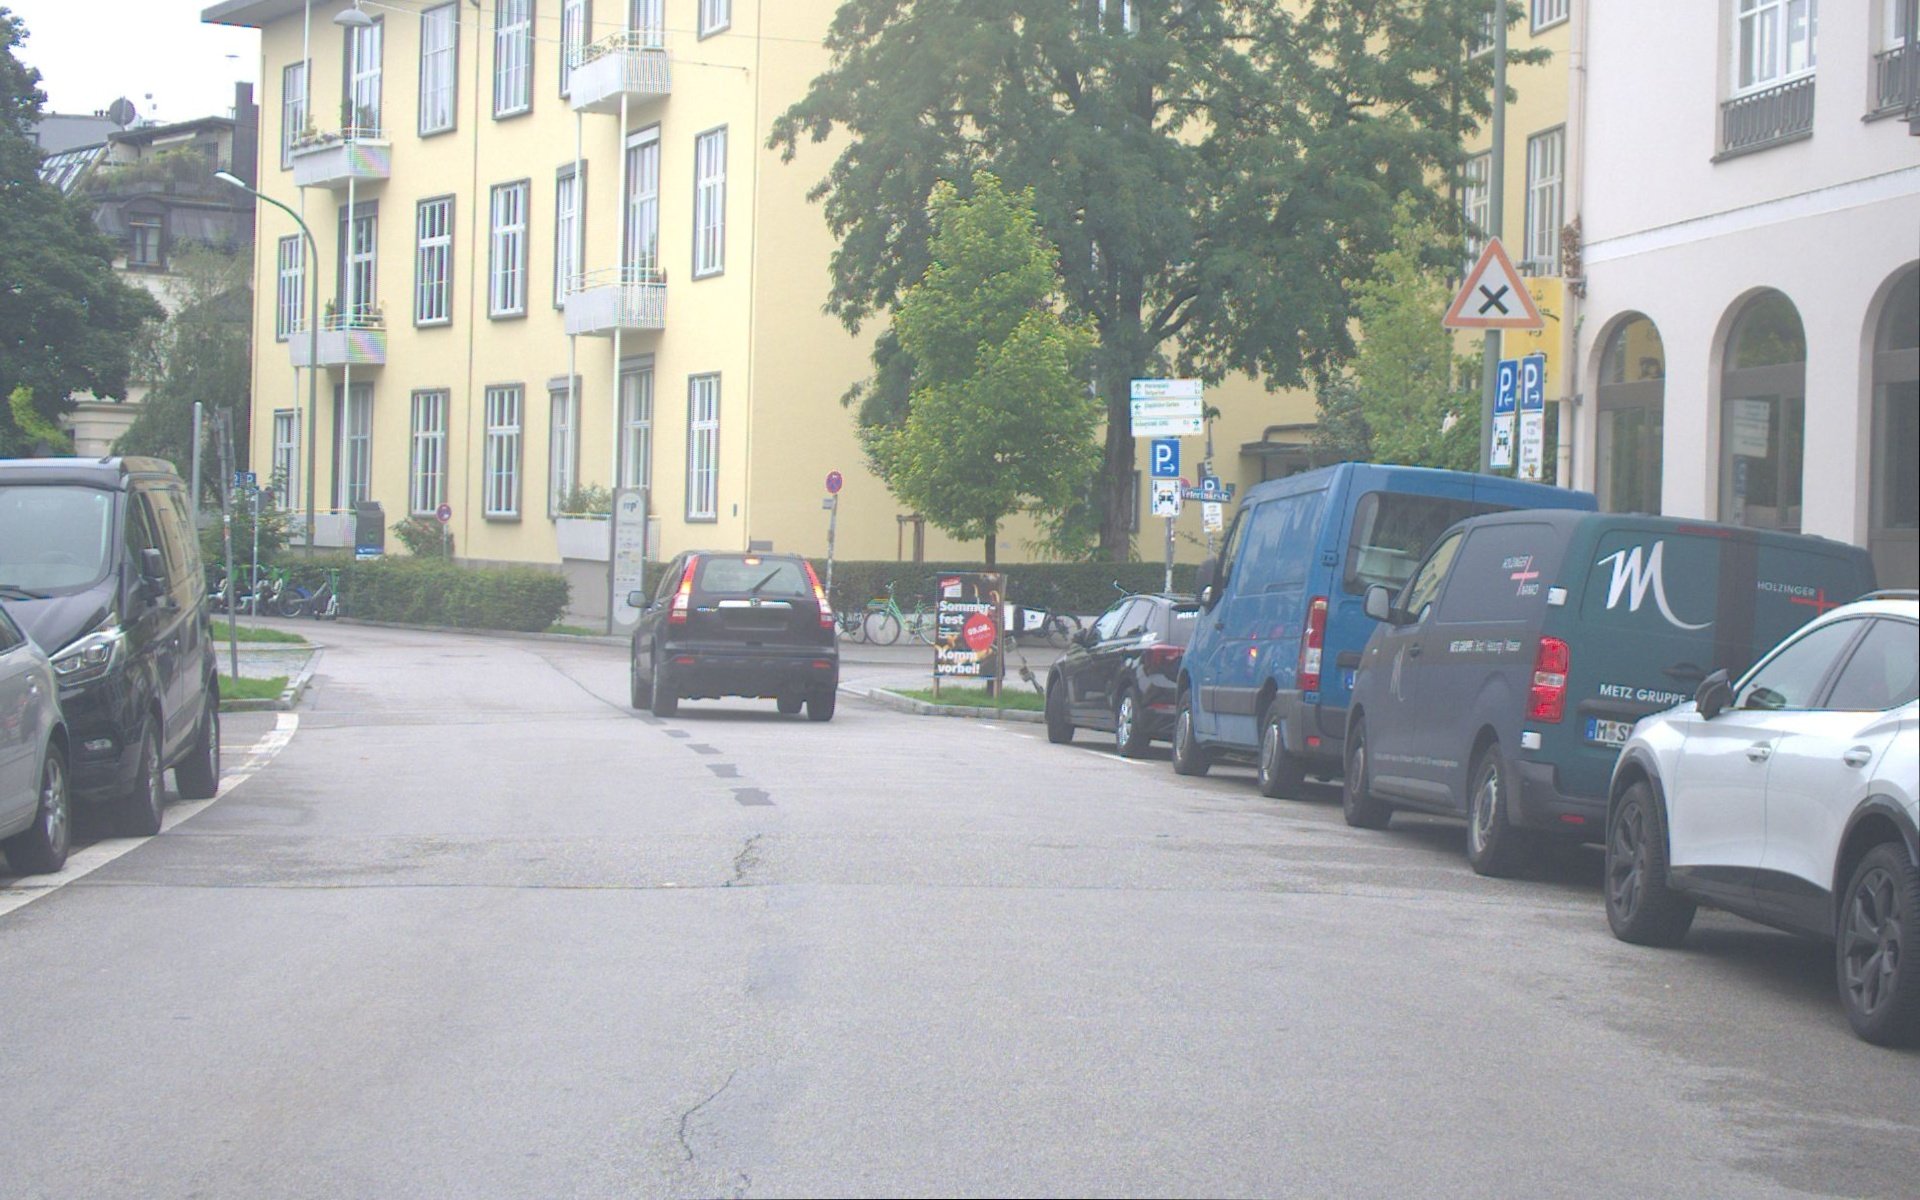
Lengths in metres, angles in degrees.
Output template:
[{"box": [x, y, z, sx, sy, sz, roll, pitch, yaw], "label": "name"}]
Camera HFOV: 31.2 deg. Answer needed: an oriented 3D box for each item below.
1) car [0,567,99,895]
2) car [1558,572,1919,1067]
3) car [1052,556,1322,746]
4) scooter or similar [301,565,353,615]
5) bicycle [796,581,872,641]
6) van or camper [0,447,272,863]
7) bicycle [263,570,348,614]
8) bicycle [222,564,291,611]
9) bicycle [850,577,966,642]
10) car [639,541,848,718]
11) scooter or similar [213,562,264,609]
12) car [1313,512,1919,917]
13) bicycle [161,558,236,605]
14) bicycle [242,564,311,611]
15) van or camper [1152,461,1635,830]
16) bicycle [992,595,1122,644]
[{"box": [-4.886, 0.580, 14.400, 1.619, 1.373, 4.072, -1, 1, -2], "label": "car"}, {"box": [3.740, 0.743, 12.855, 1.738, 1.532, 4.274, 4, 0, -6], "label": "car"}, {"box": [1.953, 0.402, 30.712, 1.703, 1.513, 3.959, 2, 1, -6], "label": "car"}, {"box": [-14.272, -0.238, 77.595, 0.495, 1.105, 1.408, 1, 1, 20], "label": "scooter or similar"}, {"box": [-2.364, 0.202, 64.258, 0.608, 1.069, 2.218, 0, 1, -24], "label": "bicycle"}, {"box": [-5.261, 0.243, 19.436, 1.960, 2.058, 4.754, -1, 1, -3], "label": "van or camper"}, {"box": [-15.006, -0.188, 78.816, 1.823, 1.002, 0.577, 0, 1, -35], "label": "bicycle"}, {"box": [-16.645, -0.312, 81.417, 0.576, 1.082, 1.931, 1, 1, 24], "label": "bicycle"}, {"box": [-0.950, 0.169, 62.157, 2.215, 1.113, 0.609, 2, 1, 41], "label": "bicycle"}, {"box": [-2.275, 0.254, 35.271, 1.995, 1.688, 4.381, 0, 1, -5], "label": "car"}, {"box": [-17.152, -0.355, 81.722, 0.495, 1.084, 1.408, 1, 1, 20], "label": "scooter or similar"}, {"box": [3.396, 0.507, 18.761, 1.964, 1.810, 4.936, 4, 1, -4], "label": "car"}, {"box": [-18.291, -0.447, 82.678, 0.696, 1.082, 2.337, 1, 1, 17], "label": "bicycle"}, {"box": [-16.086, -0.308, 80.911, 0.576, 1.082, 1.931, 1, 1, 24], "label": "bicycle"}, {"box": [2.908, 0.244, 24.511, 2.060, 2.223, 5.439, 4, 1, -6], "label": "van or camper"}, {"box": [1.720, 0.344, 60.944, 2.211, 0.776, 0.610, 2, 1, 13], "label": "bicycle"}]
